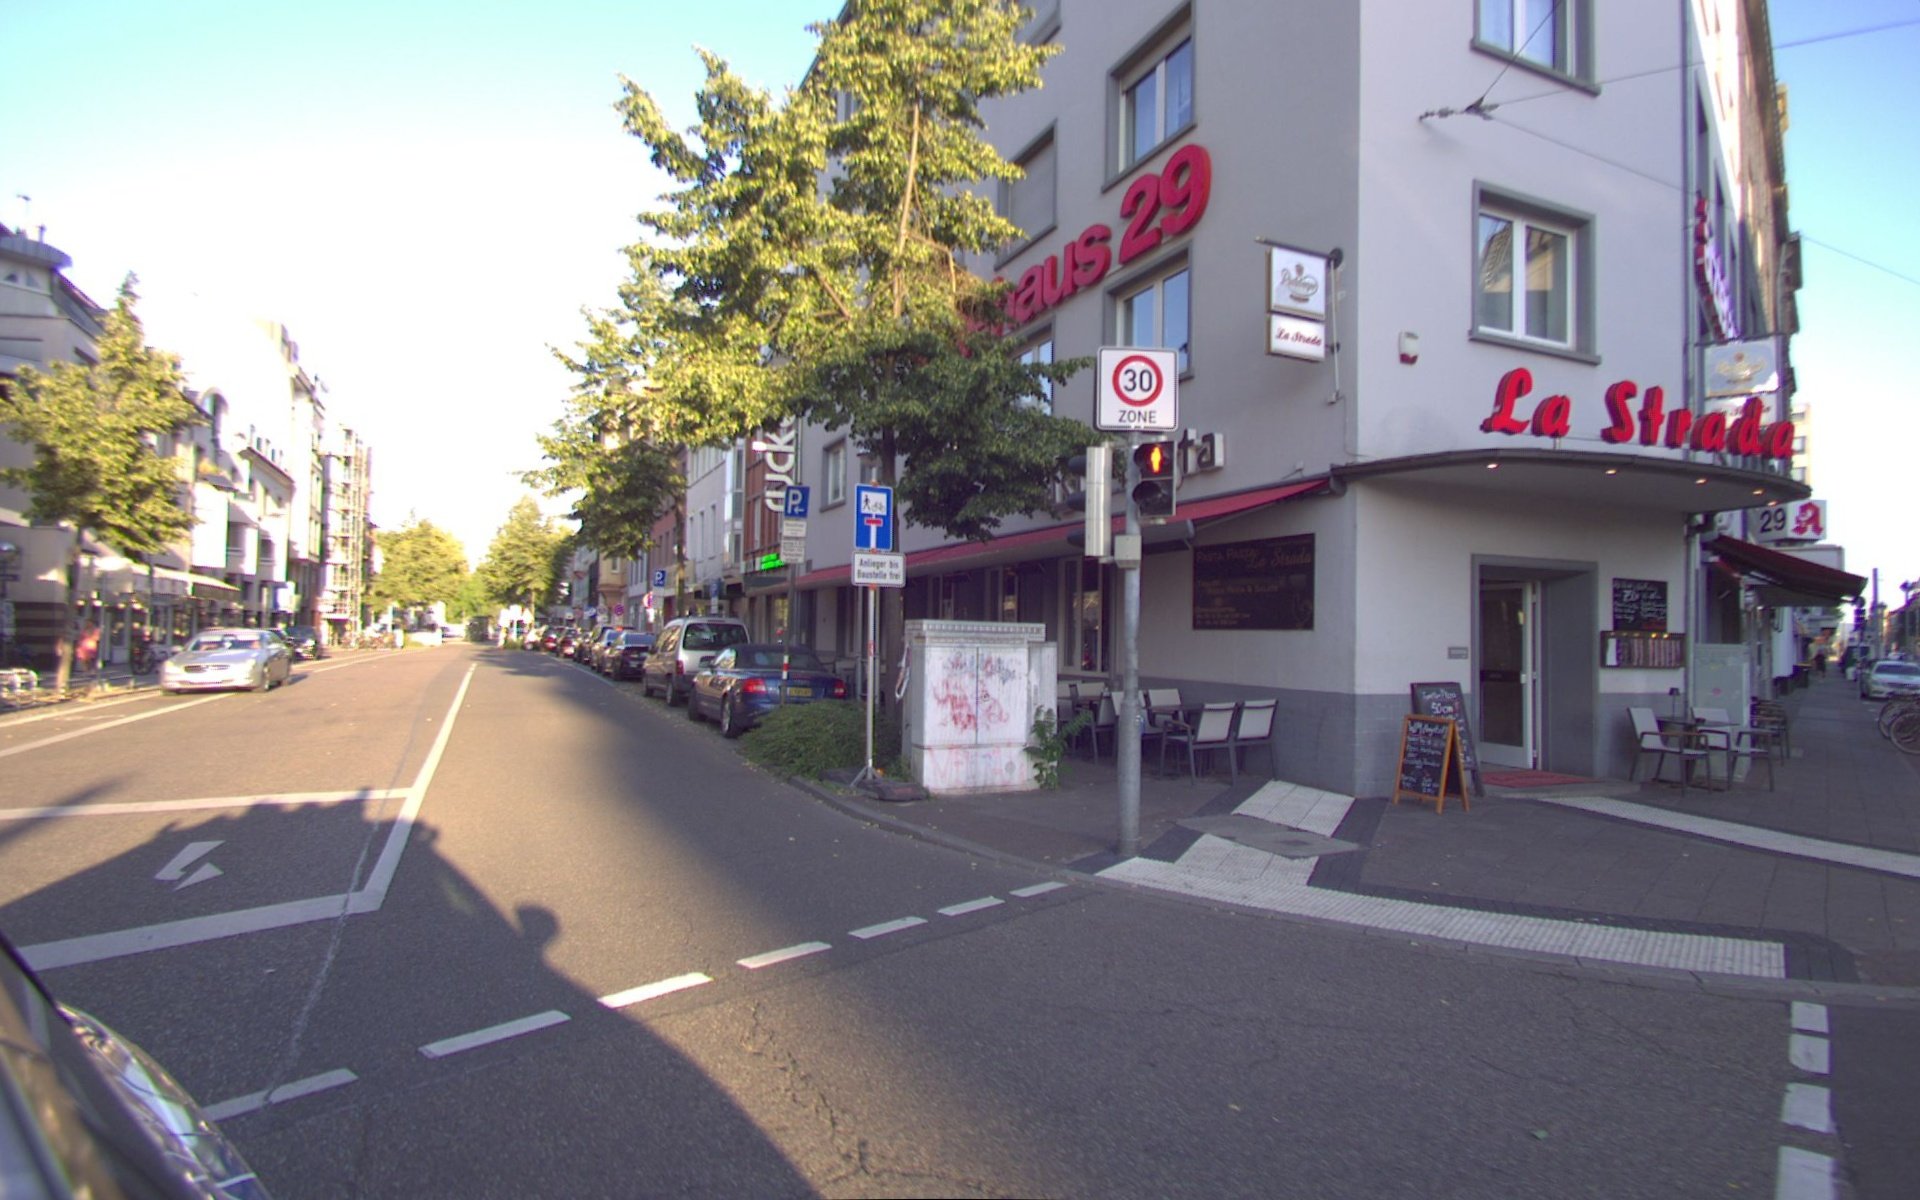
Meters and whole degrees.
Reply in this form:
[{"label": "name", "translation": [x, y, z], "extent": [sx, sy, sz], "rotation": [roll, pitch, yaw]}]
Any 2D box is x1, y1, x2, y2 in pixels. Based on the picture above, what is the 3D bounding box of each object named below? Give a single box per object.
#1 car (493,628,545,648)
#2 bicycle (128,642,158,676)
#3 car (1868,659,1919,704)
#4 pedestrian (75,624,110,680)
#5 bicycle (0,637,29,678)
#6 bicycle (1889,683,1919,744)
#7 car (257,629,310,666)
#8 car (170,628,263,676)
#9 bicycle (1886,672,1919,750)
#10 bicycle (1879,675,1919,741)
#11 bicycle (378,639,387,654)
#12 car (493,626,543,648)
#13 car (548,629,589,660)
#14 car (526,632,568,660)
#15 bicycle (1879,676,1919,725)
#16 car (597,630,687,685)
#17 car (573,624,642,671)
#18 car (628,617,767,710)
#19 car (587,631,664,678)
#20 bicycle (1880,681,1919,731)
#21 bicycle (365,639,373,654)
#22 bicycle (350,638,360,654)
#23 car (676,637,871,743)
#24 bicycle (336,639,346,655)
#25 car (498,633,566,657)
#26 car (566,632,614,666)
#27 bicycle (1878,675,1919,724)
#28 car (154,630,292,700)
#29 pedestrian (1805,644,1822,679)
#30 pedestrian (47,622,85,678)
[{"label": "car", "translation": [-39.737, 3.437, 91.249], "extent": [4.063, 1.689, 2.003], "rotation": [3, -3, -29]}, {"label": "bicycle", "translation": [-24.375, 1.743, 30.207], "extent": [0.385, 0.963, 1.620], "rotation": [2, -2, -29]}, {"label": "car", "translation": [33.326, 2.862, 35.607], "extent": [1.763, 1.400, 4.218], "rotation": [2, -1, 39]}, {"label": "pedestrian", "translation": [-24.097, 1.434, 28.115], "extent": [0.532, 1.542, 0.556], "rotation": [1, -2, -20]}, {"label": "bicycle", "translation": [-26.022, 1.553, 27.665], "extent": [0.385, 1.058, 1.850], "rotation": [2, -2, -29]}, {"label": "bicycle", "translation": [17.171, 2.015, 17.299], "extent": [1.862, 0.991, 0.599], "rotation": [3, 0, 42]}, {"label": "car", "translation": [-30.071, 2.085, 45.067], "extent": [1.545, 1.561, 2.812], "rotation": [3, -3, -26]}, {"label": "car", "translation": [-24.189, 1.668, 33.057], "extent": [1.698, 1.432, 4.045], "rotation": [3, -3, -26]}, {"label": "bicycle", "translation": [16.187, 1.854, 16.265], "extent": [1.862, 1.236, 0.599], "rotation": [3, 0, 42]}, {"label": "bicycle", "translation": [18.020, 2.030, 18.420], "extent": [1.862, 1.143, 0.599], "rotation": [3, 0, 42]}, {"label": "bicycle", "translation": [-38.275, 3.078, 67.029], "extent": [0.462, 0.965, 1.924], "rotation": [2, -2, -30]}, {"label": "car", "translation": [-41.904, 3.498, 95.932], "extent": [4.122, 1.998, 2.062], "rotation": [3, -3, -30]}, {"label": "car", "translation": [-21.373, 2.413, 55.204], "extent": [1.741, 1.626, 4.231], "rotation": [3, -3, -25]}, {"label": "car", "translation": [-27.173, 2.986, 66.500], "extent": [2.021, 1.766, 4.230], "rotation": [3, -3, -29]}, {"label": "bicycle", "translation": [20.871, 2.200, 21.557], "extent": [1.862, 0.991, 0.456], "rotation": [3, 0, 42]}, {"label": "car", "translation": [-9.648, 1.687, 30.460], "extent": [1.888, 1.522, 4.654], "rotation": [3, -3, -26]}, {"label": "car", "translation": [-14.760, 1.954, 42.185], "extent": [1.965, 1.783, 5.316], "rotation": [3, -3, -27]}, {"label": "car", "translation": [-5.755, 1.316, 21.797], "extent": [1.888, 1.801, 4.161], "rotation": [3, -3, -28]}, {"label": "car", "translation": [-11.895, 1.896, 35.797], "extent": [1.965, 1.522, 5.129], "rotation": [3, -3, -25]}, {"label": "bicycle", "translation": [20.381, 2.259, 20.992], "extent": [1.862, 0.991, 0.486], "rotation": [3, 0, 42]}, {"label": "bicycle", "translation": [-38.888, 3.040, 66.606], "extent": [0.462, 0.965, 1.924], "rotation": [2, -2, -30]}, {"label": "bicycle", "translation": [-39.526, 3.004, 66.119], "extent": [0.462, 0.965, 1.924], "rotation": [2, -2, -30]}, {"label": "car", "translation": [-3.097, 1.323, 16.006], "extent": [1.888, 1.397, 4.396], "rotation": [3, -3, -26]}, {"label": "bicycle", "translation": [-40.077, 3.038, 65.499], "extent": [0.462, 0.965, 1.924], "rotation": [2, -2, -30]}, {"label": "car", "translation": [-30.314, 3.212, 71.733], "extent": [4.122, 1.593, 2.062], "rotation": [3, -3, -30]}, {"label": "car", "translation": [-17.530, 2.289, 47.801], "extent": [1.741, 1.522, 4.231], "rotation": [3, -3, -25]}, {"label": "bicycle", "translation": [21.198, 2.210, 21.947], "extent": [1.862, 0.991, 0.456], "rotation": [3, 0, 42]}, {"label": "car", "translation": [-16.669, 1.408, 23.115], "extent": [1.775, 1.388, 4.566], "rotation": [0, -2, -26]}, {"label": "pedestrian", "translation": [44.101, 3.170, 52.305], "extent": [0.650, 1.786, 0.843], "rotation": [1, -1, 41]}, {"label": "pedestrian", "translation": [-24.701, 1.378, 27.963], "extent": [0.532, 1.542, 0.653], "rotation": [1, -2, -20]}]
